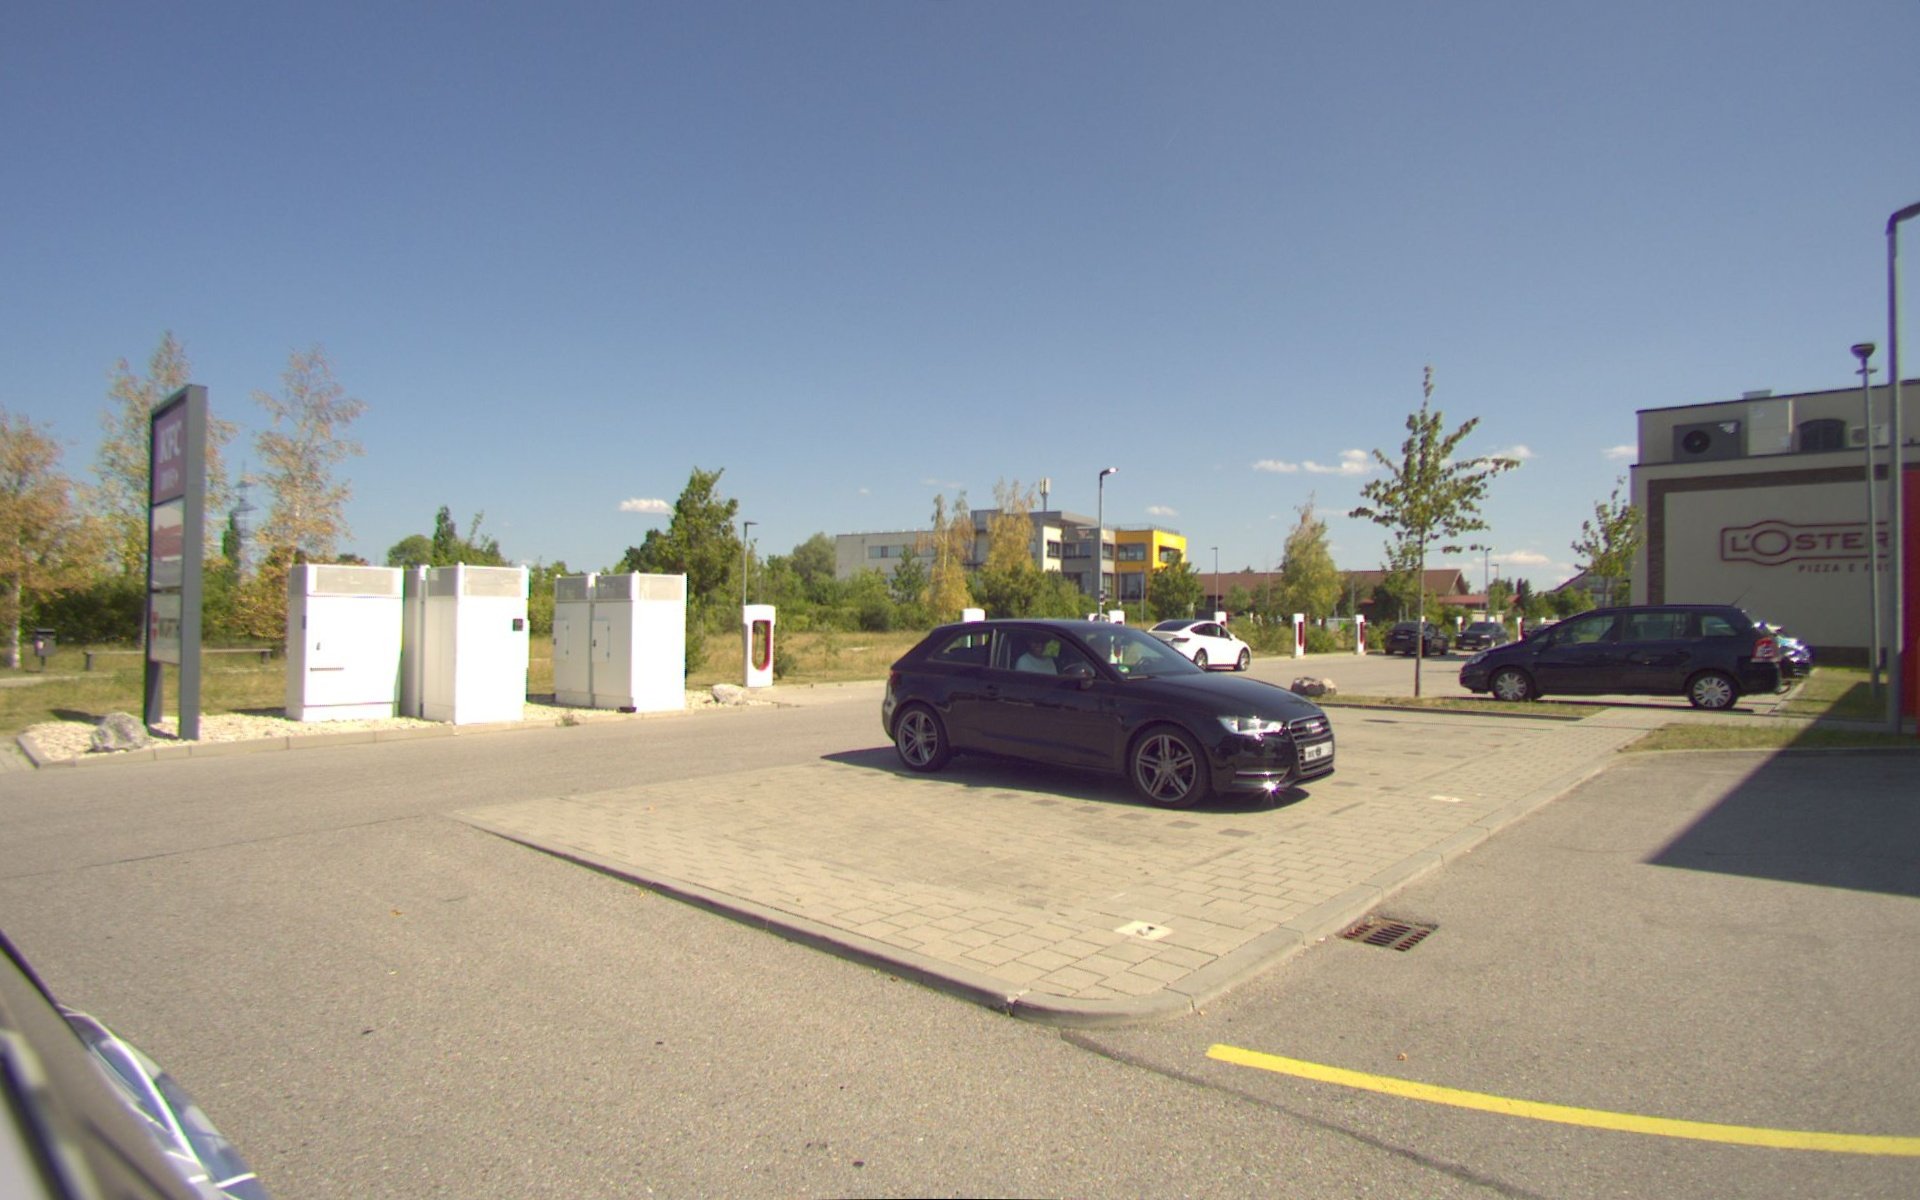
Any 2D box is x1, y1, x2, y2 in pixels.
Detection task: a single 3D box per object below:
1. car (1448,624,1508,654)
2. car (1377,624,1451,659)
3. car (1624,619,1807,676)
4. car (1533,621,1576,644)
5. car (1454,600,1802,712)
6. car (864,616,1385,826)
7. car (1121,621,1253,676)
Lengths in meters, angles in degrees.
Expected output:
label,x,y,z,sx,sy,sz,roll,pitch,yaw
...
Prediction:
label,x,y,z,sx,sy,sz,roll,pitch,yaw
car,28.788,2.120,56.174,2.069,1.519,3.945,1,0,41
car,21.254,1.889,47.314,2.069,1.519,3.945,1,0,41
car,23.304,1.410,31.314,4.444,1.621,1.765,-1,-1,41
car,40.340,2.165,68.619,1.811,1.519,3.945,-1,-2,41
car,10.812,0.860,16.582,4.547,1.581,1.973,-2,-2,40
car,1.248,0.855,8.932,4.313,1.422,1.706,-1,-1,42
car,7.188,1.467,31.742,2.217,1.538,4.372,1,0,41
